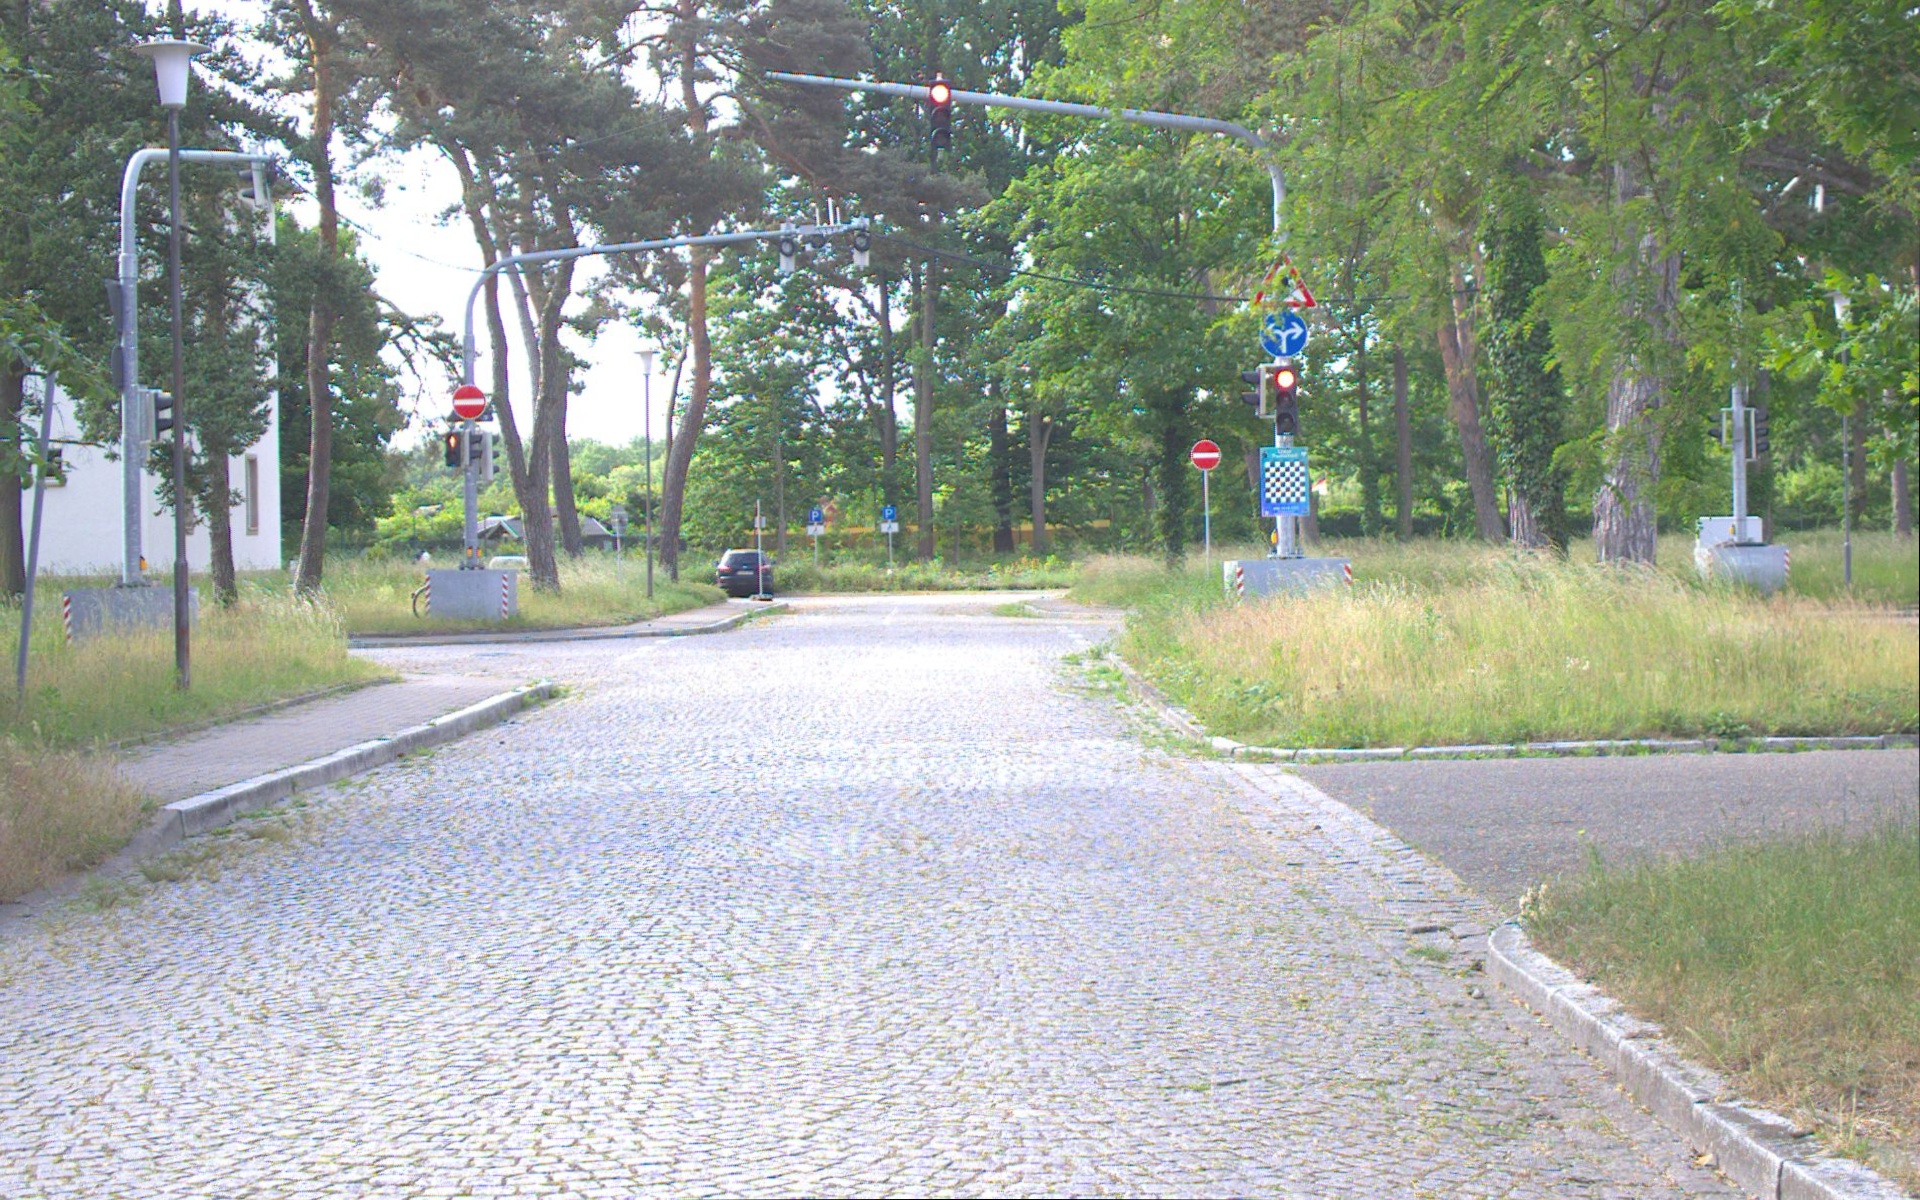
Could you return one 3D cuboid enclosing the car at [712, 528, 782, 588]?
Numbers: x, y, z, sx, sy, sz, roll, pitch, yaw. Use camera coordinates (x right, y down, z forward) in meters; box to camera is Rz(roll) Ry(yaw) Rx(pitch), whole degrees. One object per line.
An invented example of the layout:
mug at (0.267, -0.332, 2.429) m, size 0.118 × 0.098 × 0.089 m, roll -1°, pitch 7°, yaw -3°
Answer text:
car at (-6.833, -1.371, 110.573) m, size 2.056 × 1.840 × 4.000 m, roll -1°, pitch 1°, yaw -1°
